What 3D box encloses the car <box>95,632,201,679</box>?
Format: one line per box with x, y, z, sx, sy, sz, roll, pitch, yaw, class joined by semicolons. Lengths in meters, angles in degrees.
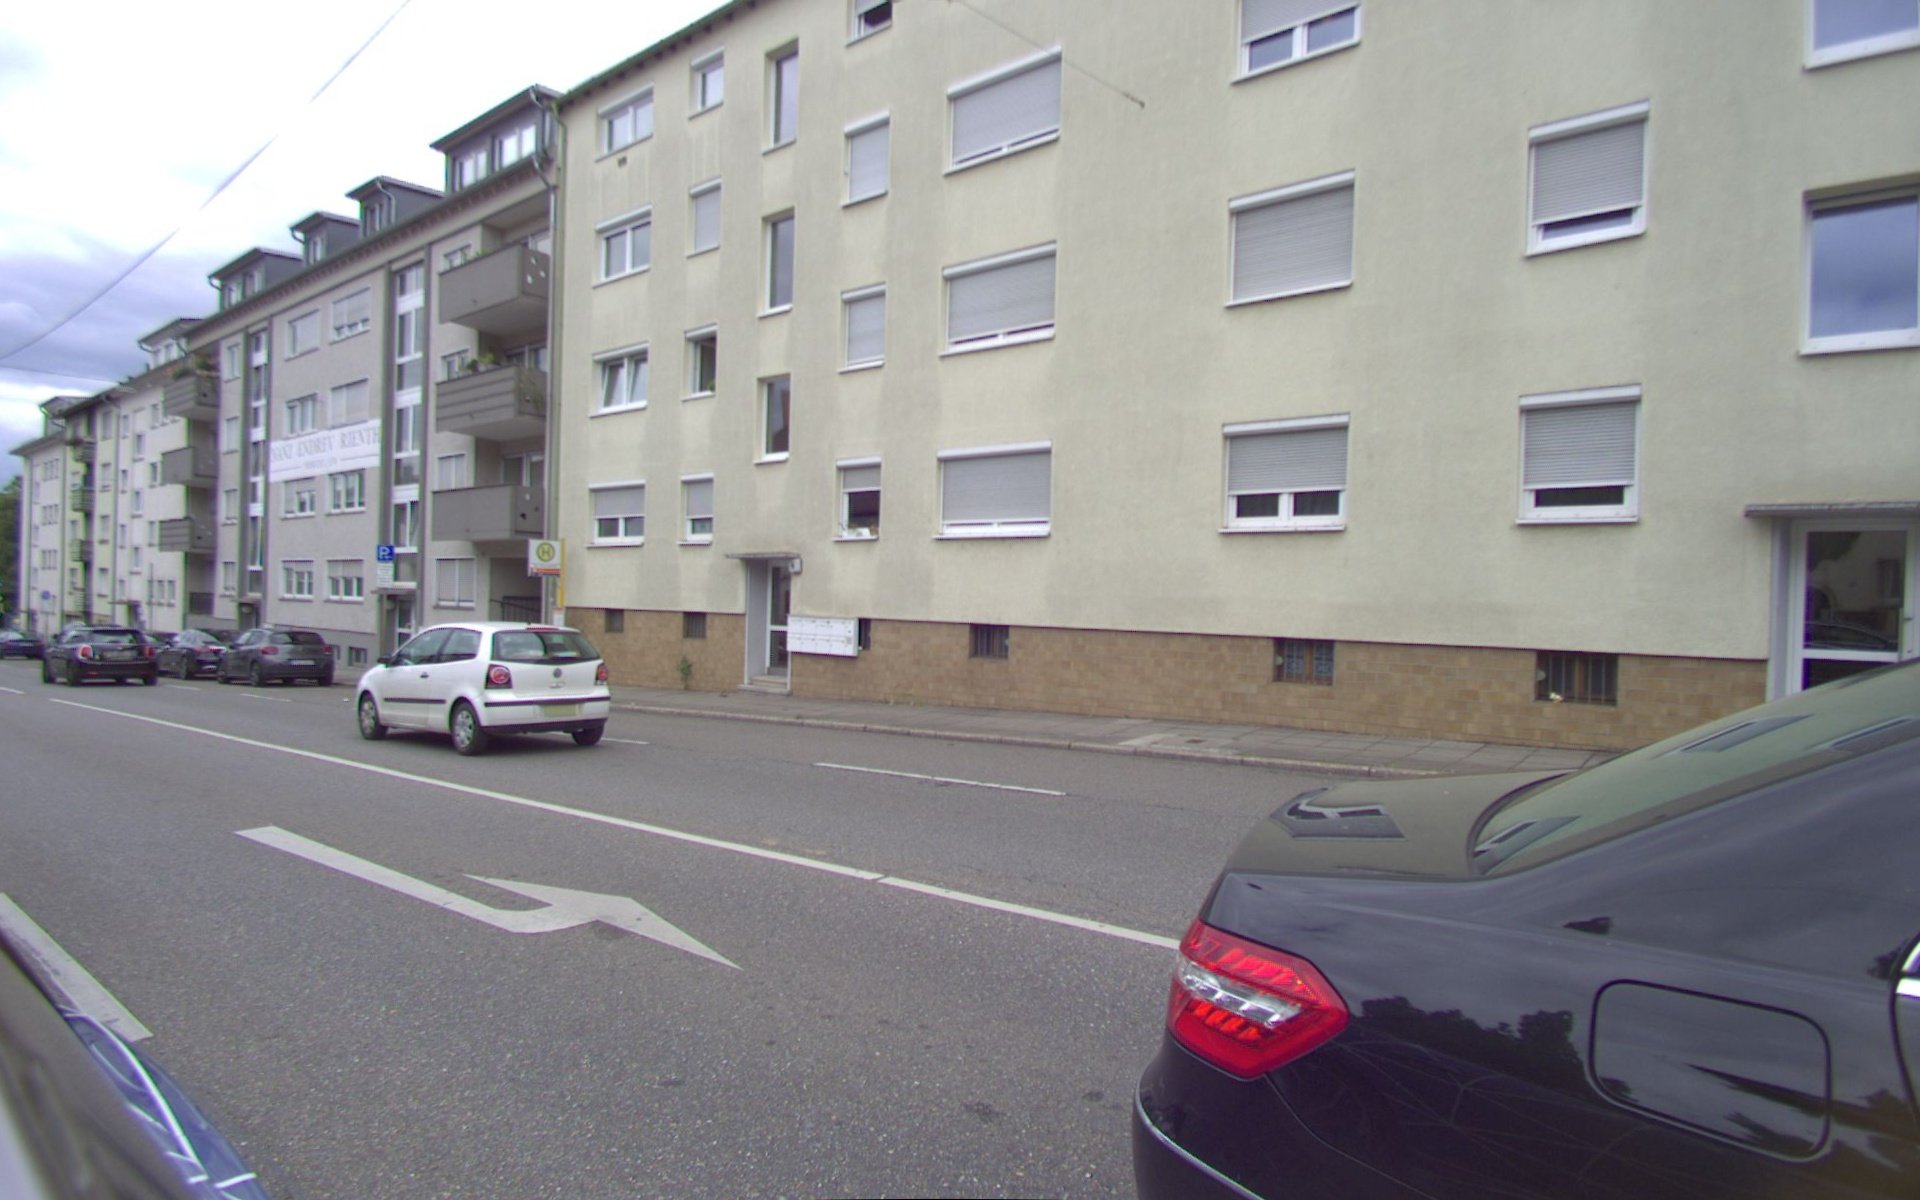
-26.227;1.759;32.678;3.533;1.414;1.755;-1;-3;36;car

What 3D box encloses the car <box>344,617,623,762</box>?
-5.772;0.952;12.130;3.594;1.494;1.573;-1;-2;38;car

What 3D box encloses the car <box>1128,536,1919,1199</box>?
2.718;0.650;0.707;4.840;1.440;1.973;-1;-2;41;car

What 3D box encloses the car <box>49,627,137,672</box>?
-33.127;1.878;38.655;3.533;1.613;1.755;-1;-3;36;car

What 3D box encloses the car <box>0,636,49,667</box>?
-46.166;2.480;49.413;3.752;1.414;1.755;-1;-3;36;car

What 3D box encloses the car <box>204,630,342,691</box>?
-17.649;1.514;25.979;3.680;1.422;1.755;-1;-3;36;car

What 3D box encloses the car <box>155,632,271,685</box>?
-21.439;1.647;29.013;3.533;1.386;1.649;-1;-3;36;car

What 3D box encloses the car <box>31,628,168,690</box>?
-21.500;1.440;25.255;3.637;1.414;1.755;-1;-3;36;car
